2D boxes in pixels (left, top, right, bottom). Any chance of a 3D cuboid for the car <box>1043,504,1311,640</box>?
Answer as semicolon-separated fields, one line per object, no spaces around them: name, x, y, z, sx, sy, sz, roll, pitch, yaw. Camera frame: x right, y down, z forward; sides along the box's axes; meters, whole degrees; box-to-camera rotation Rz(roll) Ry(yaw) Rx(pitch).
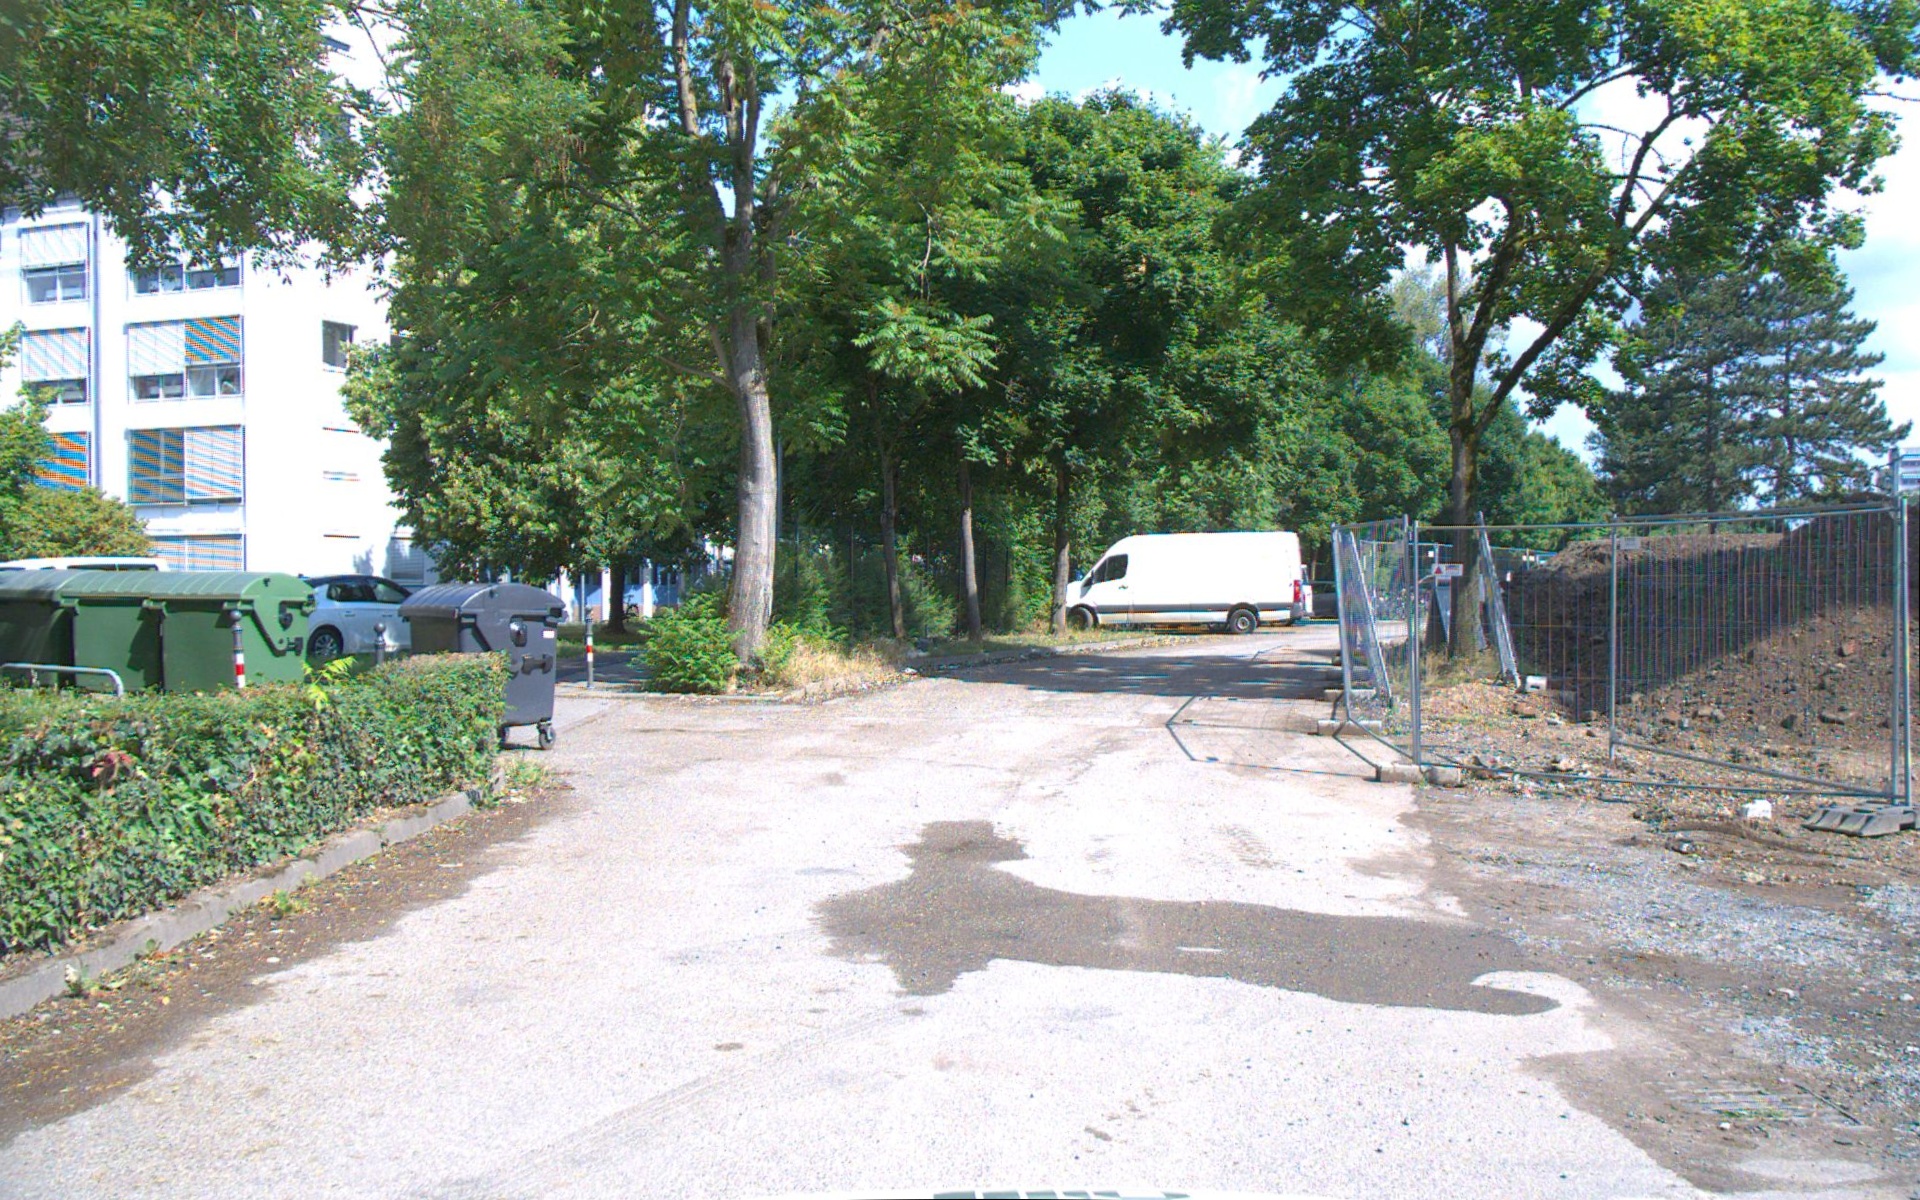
car;5.825;-0.741;44.366;6.806;3.100;2.002;4;0;11

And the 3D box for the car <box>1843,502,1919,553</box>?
car;31.900;-2.361;54.650;4.761;1.453;1.842;3;-2;28

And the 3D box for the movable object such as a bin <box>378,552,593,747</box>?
movable object such as a bin;-4.159;0.432;14.495;1.240;1.507;1.276;7;-1;-43

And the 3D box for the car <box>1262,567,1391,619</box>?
car;12.387;-0.242;55.920;3.908;1.453;1.843;3;-2;24

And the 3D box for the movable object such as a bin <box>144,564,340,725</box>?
movable object such as a bin;-7.178;0.453;16.579;1.311;1.477;1.103;3;-2;19

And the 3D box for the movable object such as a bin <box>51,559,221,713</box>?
movable object such as a bin;-8.451;0.377;16.992;1.205;1.477;0.880;3;-2;20

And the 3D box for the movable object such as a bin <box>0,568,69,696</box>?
movable object such as a bin;-10.871;0.327;18.403;1.349;1.372;0.946;3;-2;20

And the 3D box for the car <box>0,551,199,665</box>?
car;-16.960;0.181;30.699;1.955;1.999;4.948;0;-2;28

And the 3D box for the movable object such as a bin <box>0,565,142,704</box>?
movable object such as a bin;-9.600;0.368;17.591;1.205;1.372;0.946;3;-2;20

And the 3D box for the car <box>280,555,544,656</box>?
car;-8.609;0.098;26.322;1.719;1.445;3.913;2;0;26
